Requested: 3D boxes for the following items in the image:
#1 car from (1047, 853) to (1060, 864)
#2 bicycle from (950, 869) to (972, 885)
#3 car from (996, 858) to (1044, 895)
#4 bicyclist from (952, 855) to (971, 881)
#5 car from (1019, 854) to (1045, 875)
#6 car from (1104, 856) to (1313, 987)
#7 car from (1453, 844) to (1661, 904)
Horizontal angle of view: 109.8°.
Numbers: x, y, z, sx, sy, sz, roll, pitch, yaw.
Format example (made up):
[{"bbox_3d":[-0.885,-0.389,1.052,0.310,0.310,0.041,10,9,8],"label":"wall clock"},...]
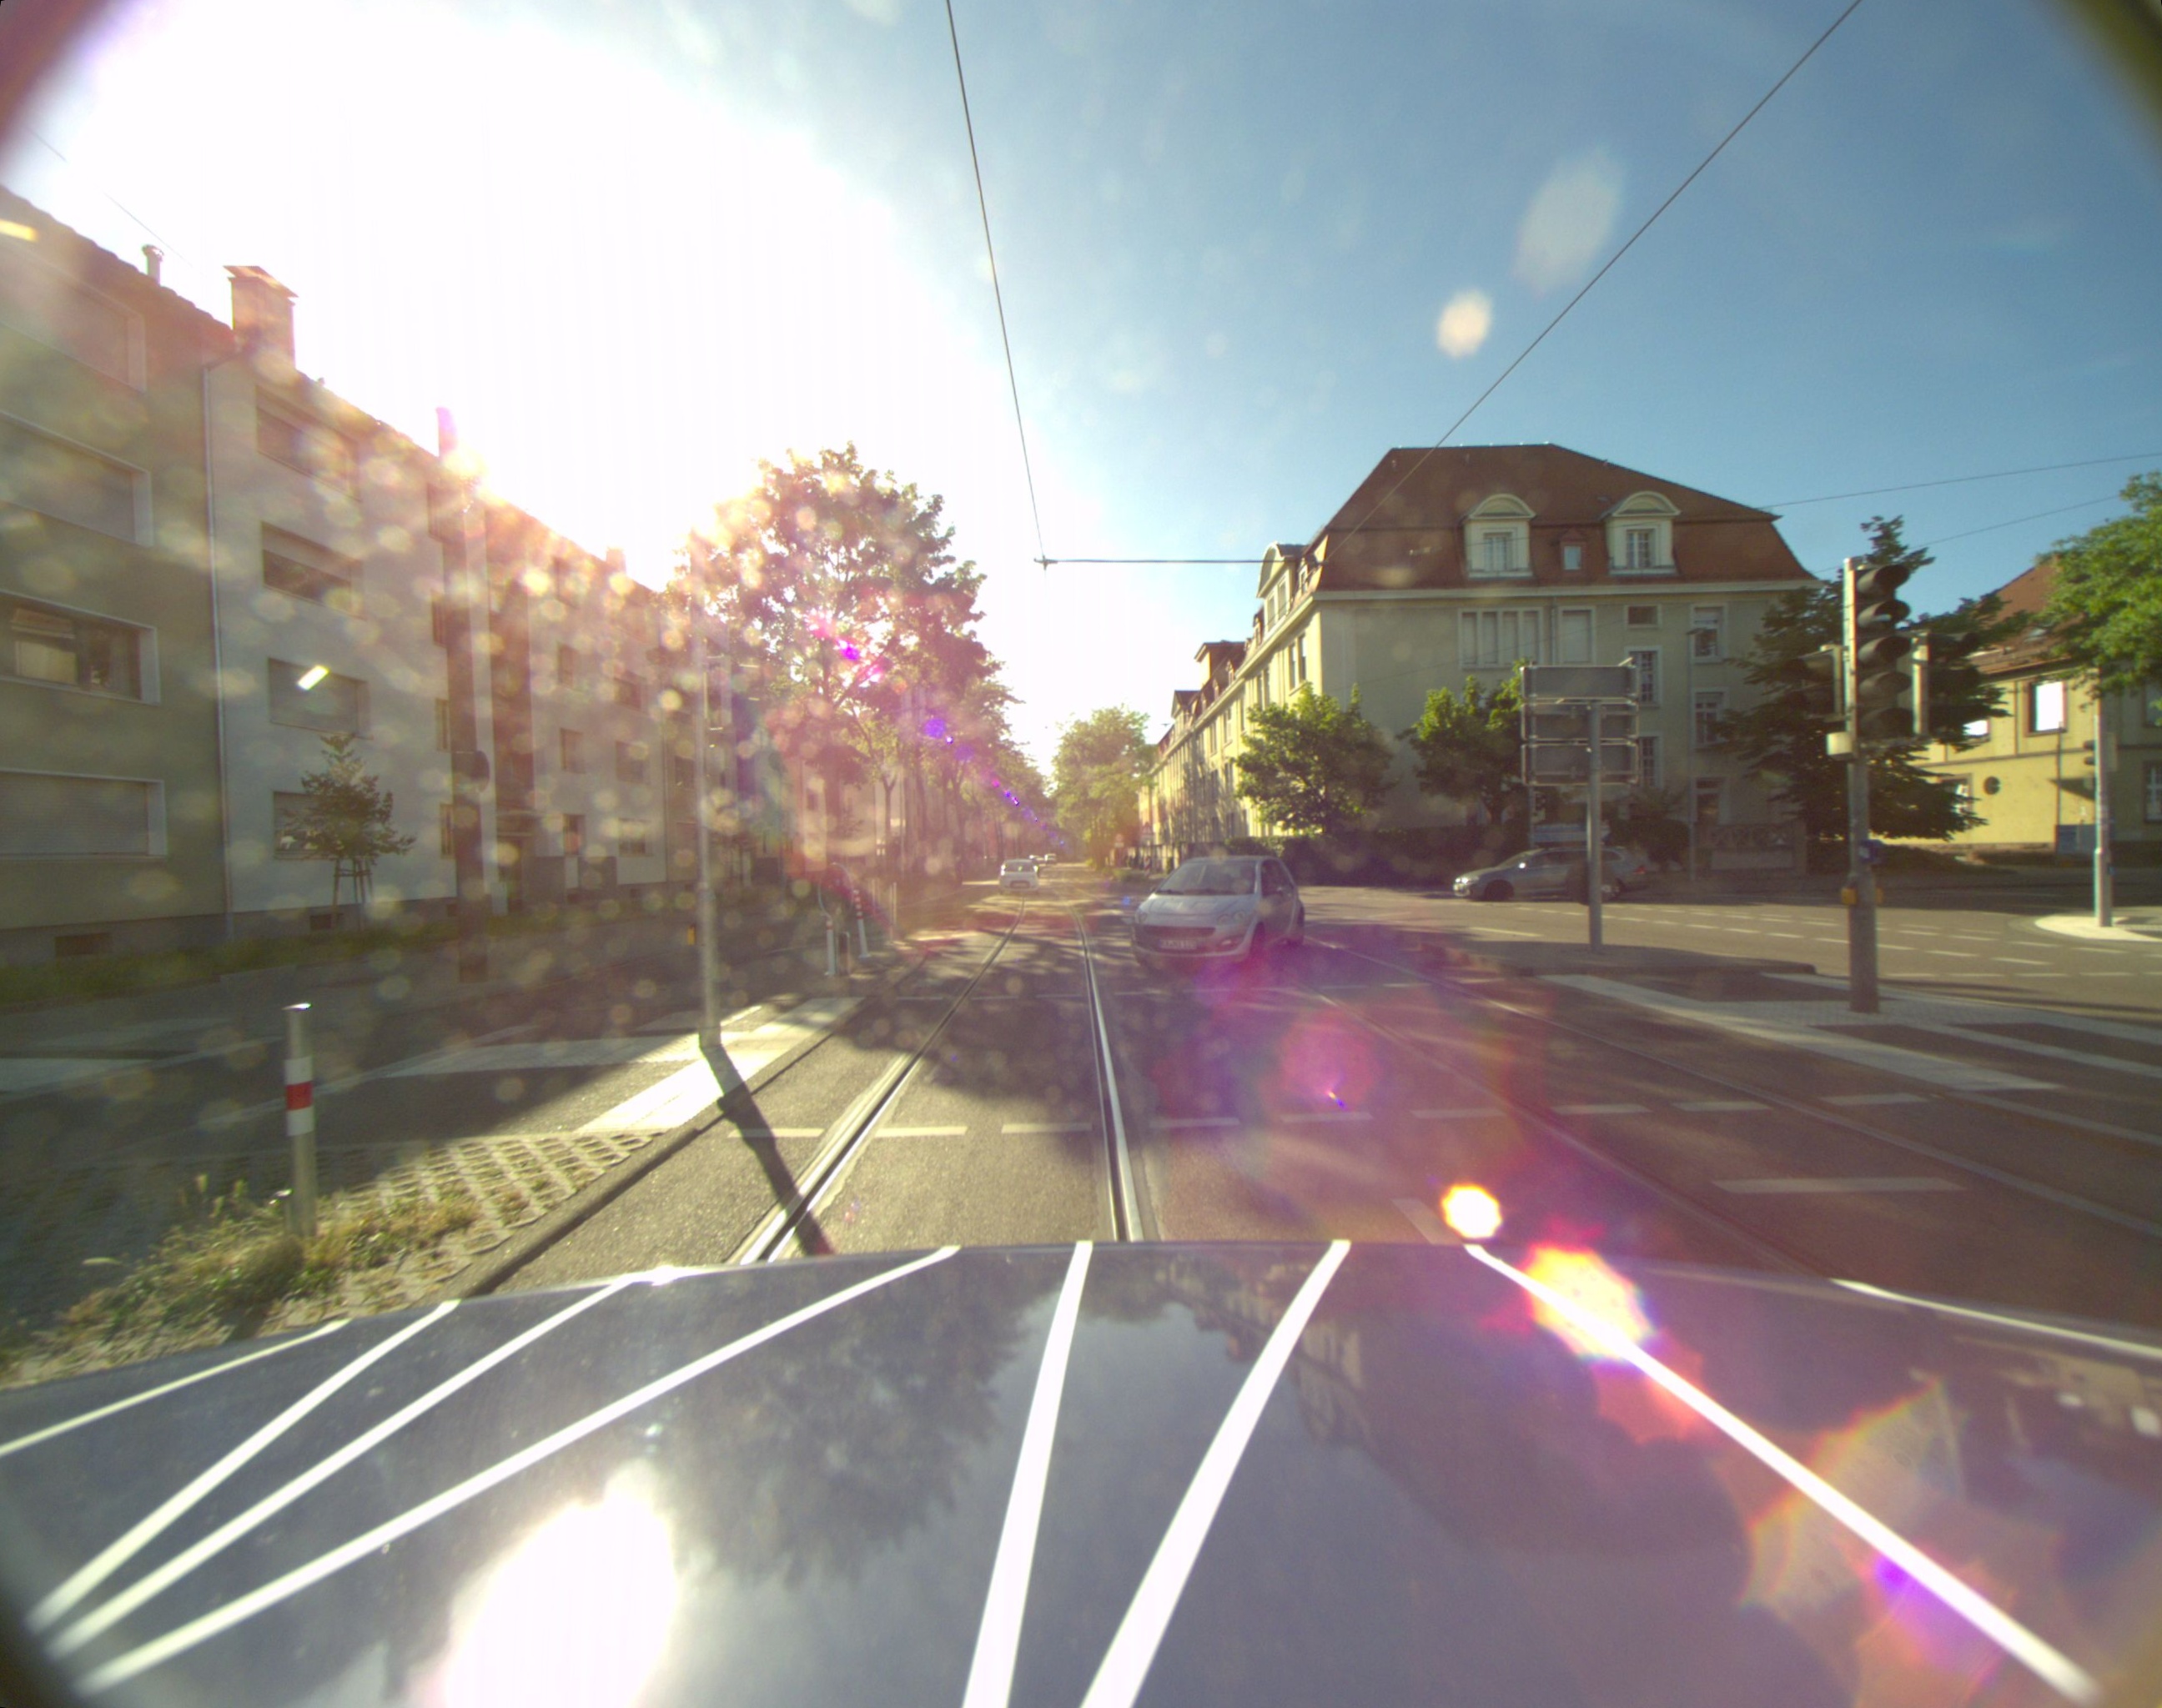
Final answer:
[{"bbox_3d":[-4.569,0.705,125.641,1.825,1.751,3.692,-3,1,-4],"label":"car"},{"bbox_3d":[-7.027,1.337,44.650,0.826,0.880,2.198,-1,0,3],"label":"bicycle"},{"bbox_3d":[-2.645,0.908,32.497,1.743,1.450,3.690,-2,0,-9],"label":"car"},{"bbox_3d":[-7.040,0.822,44.683,0.818,1.491,1.258,-1,1,3],"label":"bicyclist"},{"bbox_3d":[-3.961,0.799,60.674,1.743,1.567,3.690,-2,0,-9],"label":"car"},{"bbox_3d":[1.978,0.808,10.847,1.738,1.450,3.700,-1,0,30],"label":"car"},{"bbox_3d":[12.604,0.523,20.424,4.397,1.450,1.745,-1,1,13],"label":"car"}]
